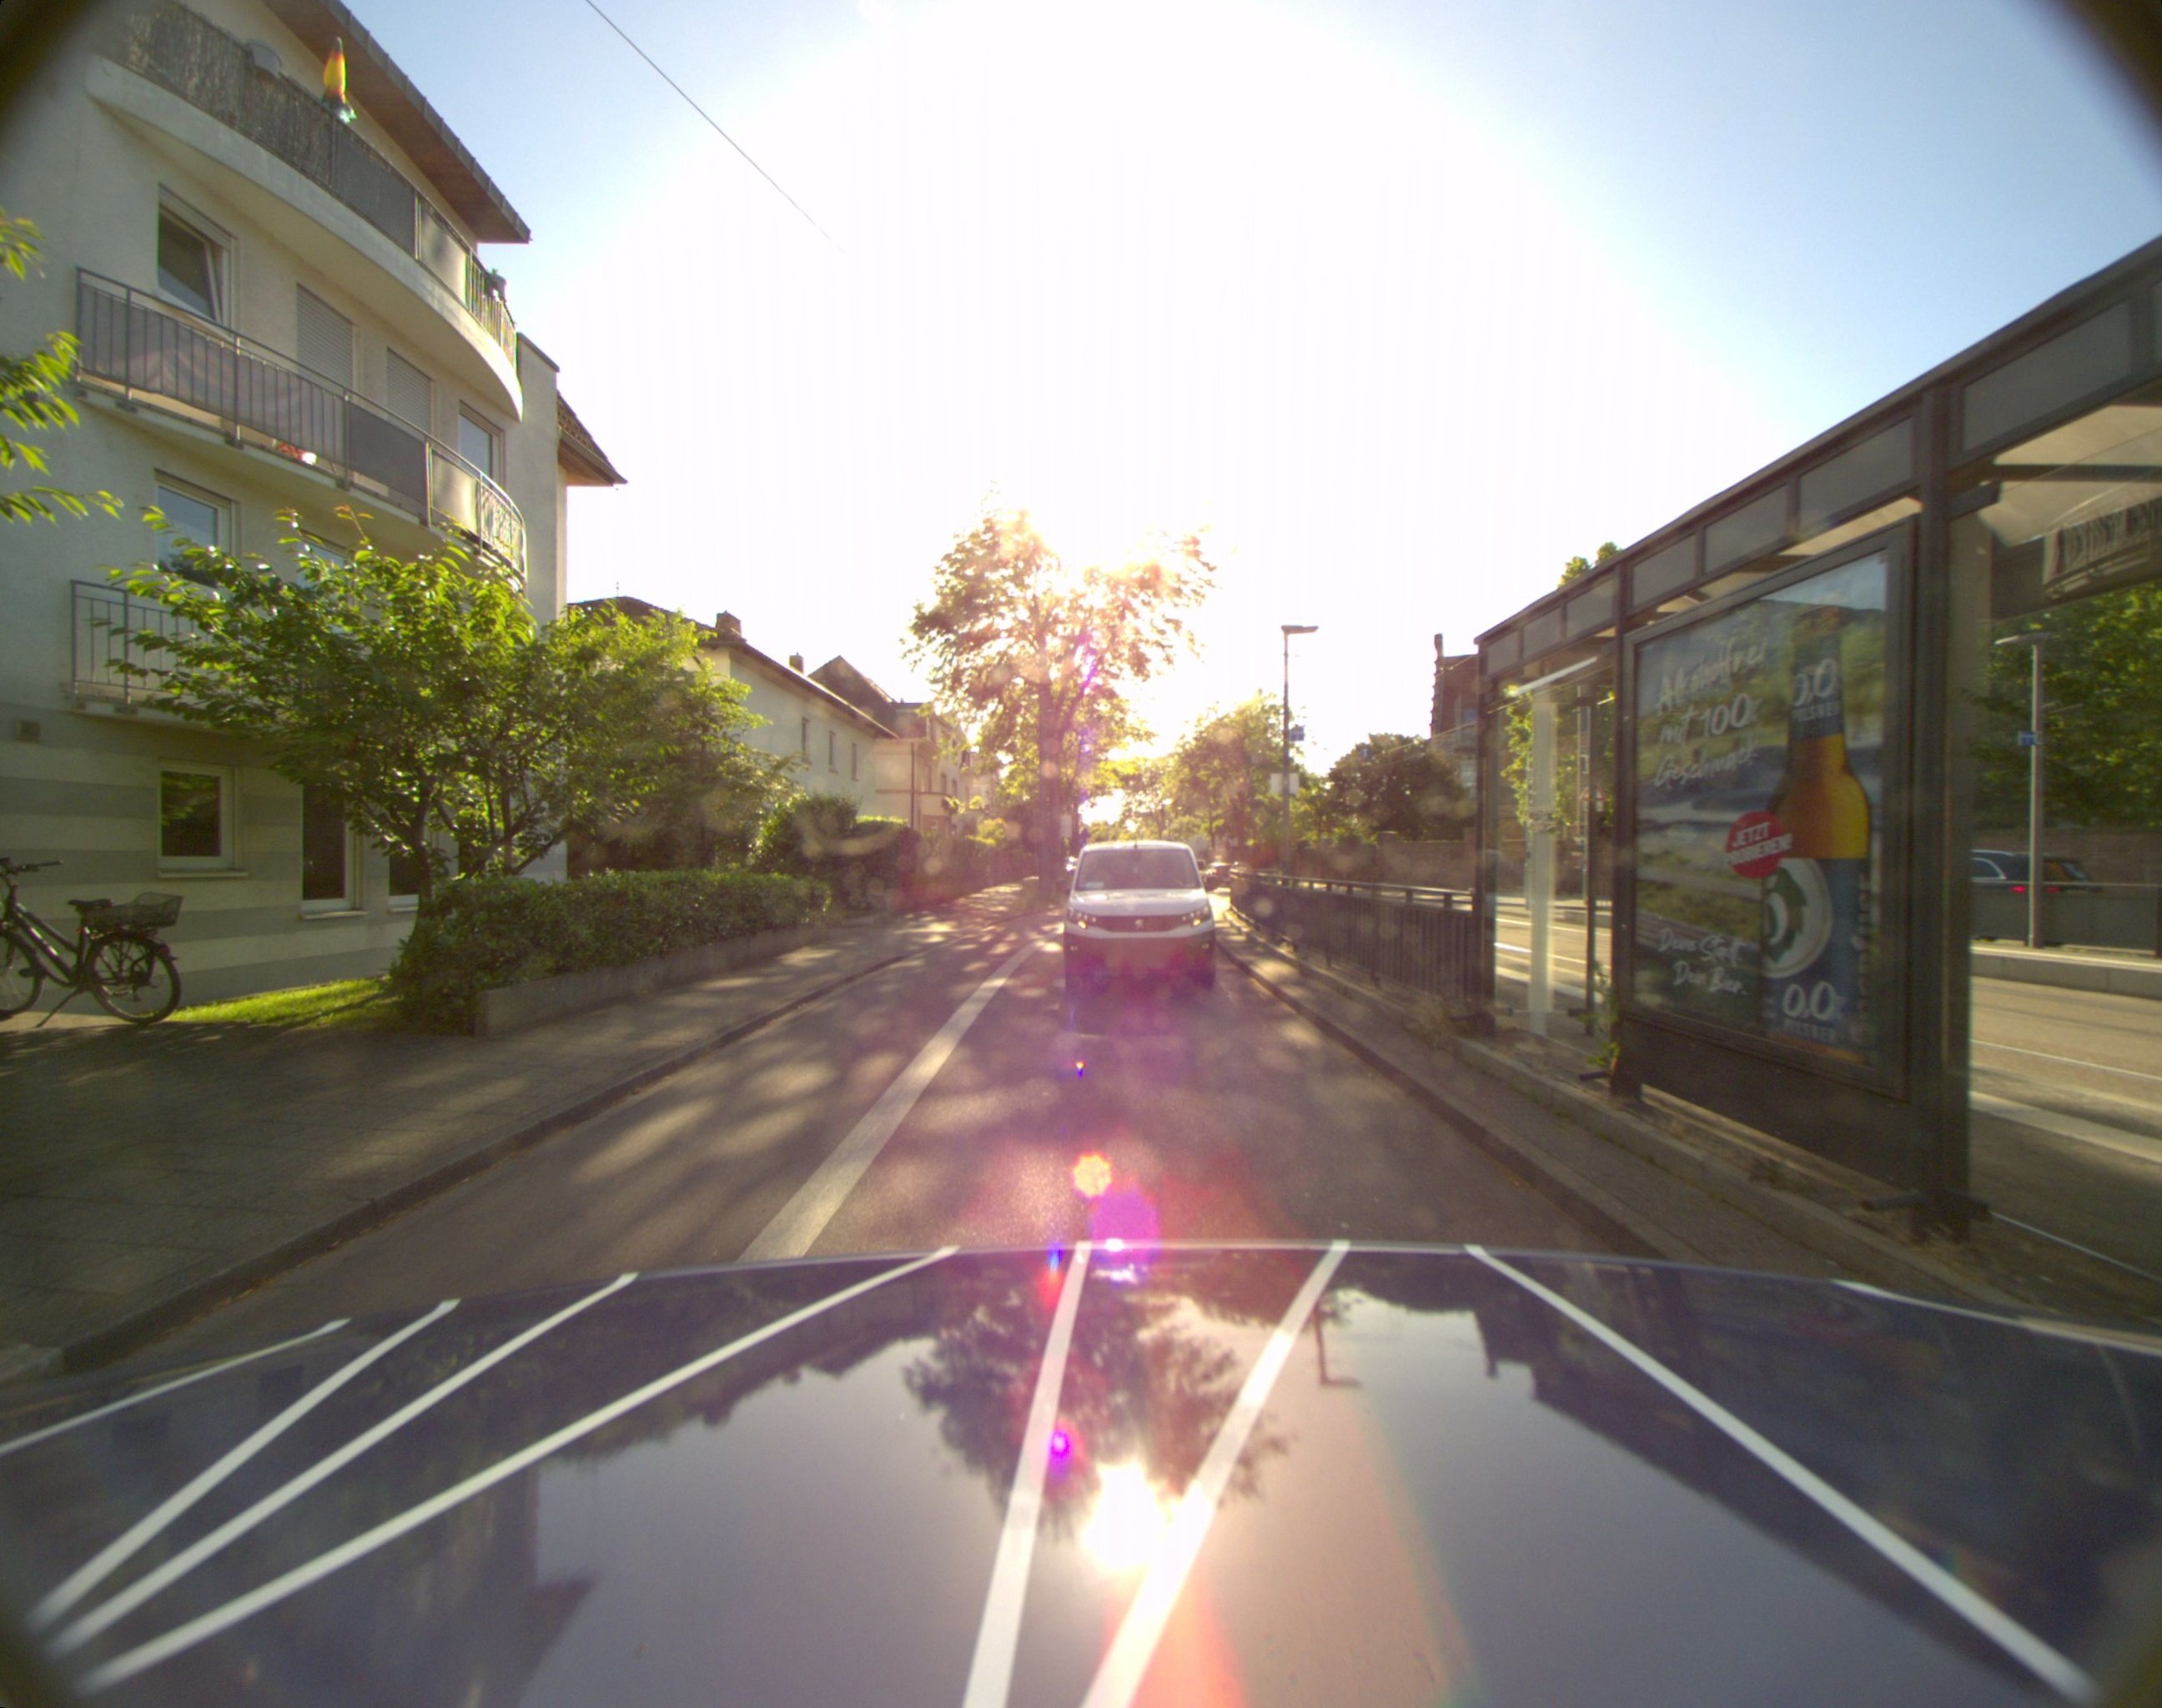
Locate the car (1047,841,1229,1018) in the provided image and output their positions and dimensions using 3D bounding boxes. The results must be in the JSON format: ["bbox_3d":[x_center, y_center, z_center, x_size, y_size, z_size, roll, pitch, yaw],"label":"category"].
[{"bbox_3d":[0.666,0.777,10.041,1.832,1.788,4.334,-2,0,2],"label":"car"}]

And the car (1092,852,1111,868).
[{"bbox_3d":[2.439,0.713,90.318,1.903,1.818,4.250,0,0,6],"label":"car"}]

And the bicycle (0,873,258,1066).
[{"bbox_3d":[-7.514,0.806,5.655,1.845,1.196,0.825,4,1,0],"label":"bicycle"}]

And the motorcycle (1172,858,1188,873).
[{"bbox_3d":[8.187,0.948,62.972,1.132,1.236,2.574,0,0,4],"label":"motorcycle"}]

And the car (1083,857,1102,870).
[{"bbox_3d":[1.310,1.014,83.998,1.719,1.332,3.919,0,0,6],"label":"car"}]

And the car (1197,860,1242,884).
[{"bbox_3d":[8.542,1.095,47.320,1.860,1.395,3.982,1,0,-3],"label":"car"}]

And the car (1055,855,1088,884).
[{"bbox_3d":[-0.573,0.970,49.834,1.998,1.733,4.171,0,0,1],"label":"car"}]

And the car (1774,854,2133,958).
[{"bbox_3d":[15.991,0.841,14.382,1.911,1.667,4.359,0,0,3],"label":"car"}]

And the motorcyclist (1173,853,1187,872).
[{"bbox_3d":[8.193,0.704,63.083,1.127,1.516,1.055,0,1,4],"label":"motorcyclist"}]
